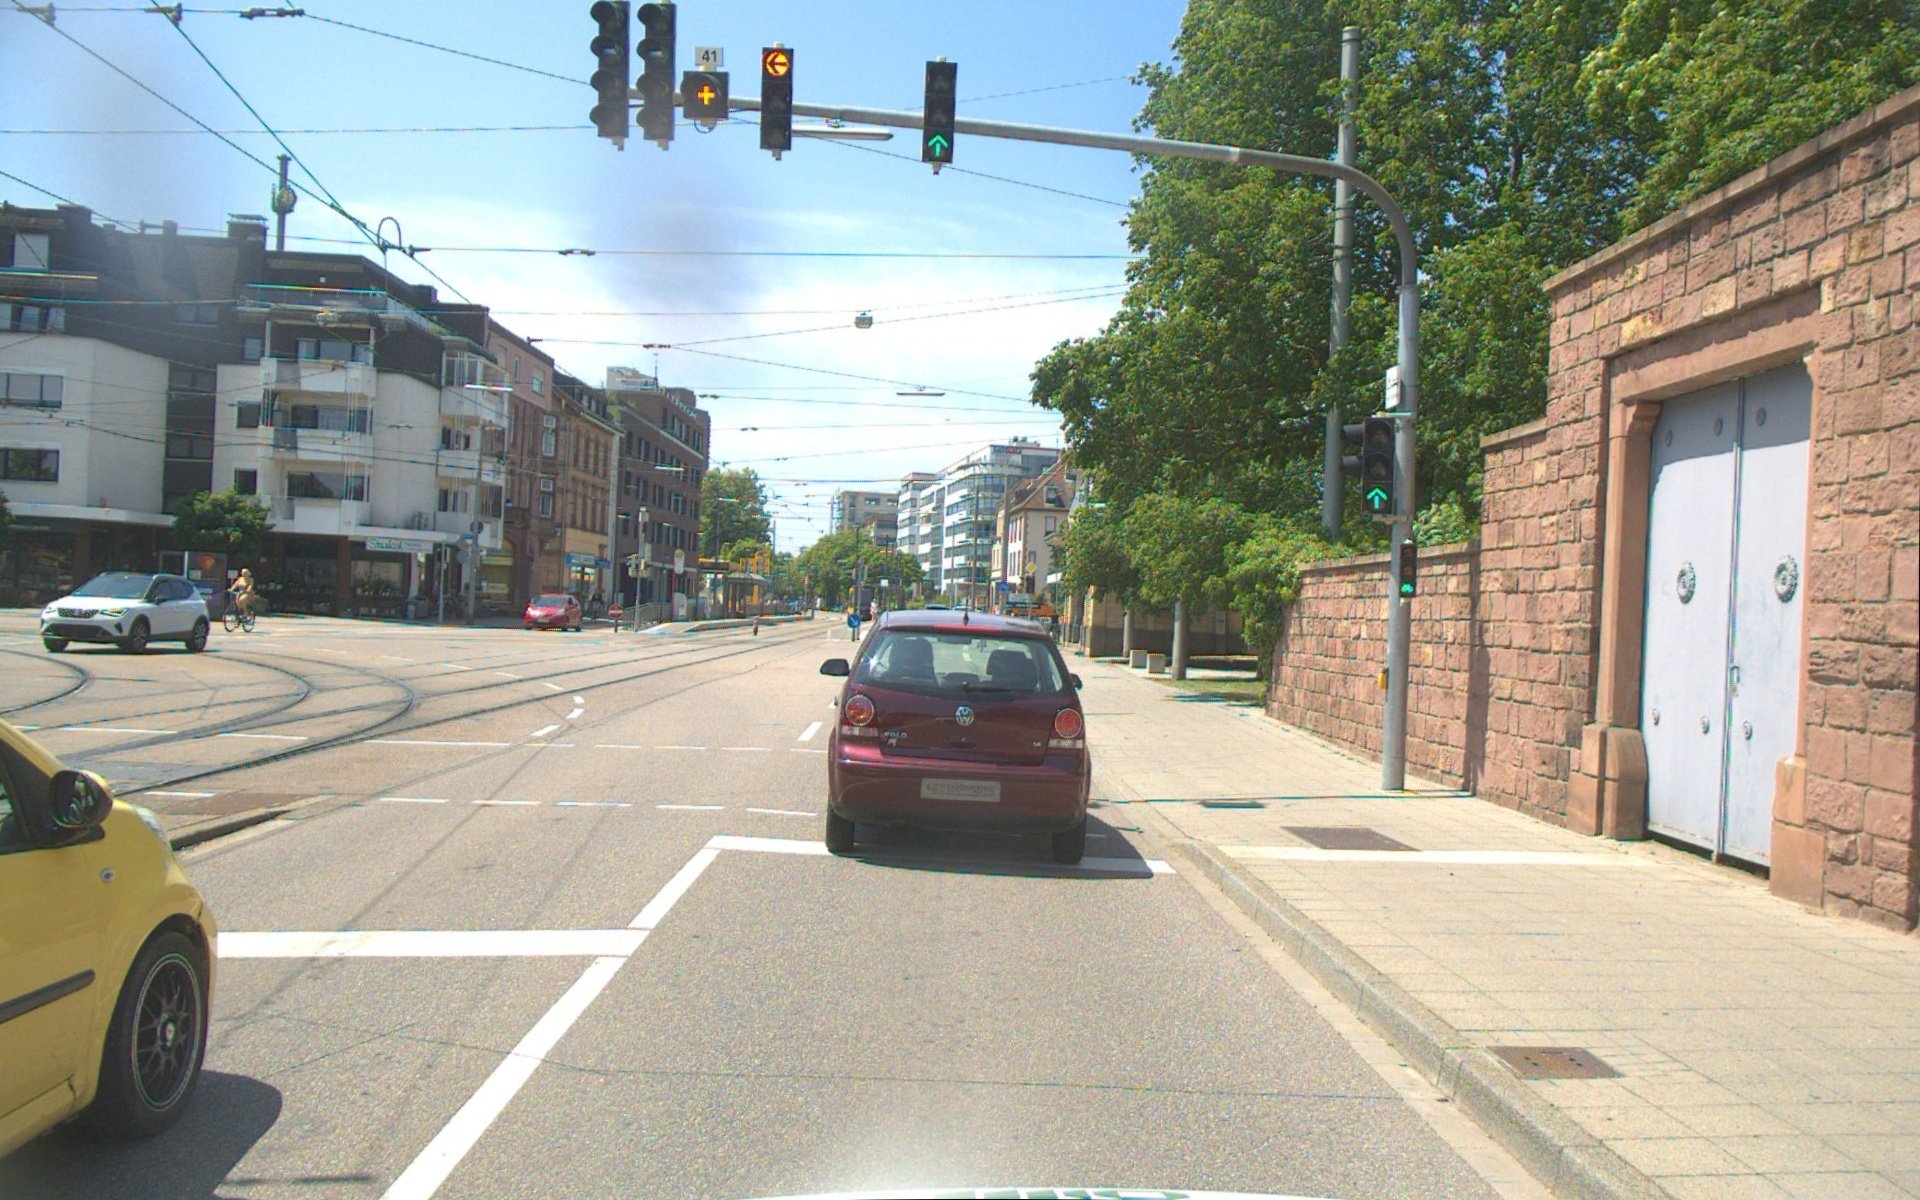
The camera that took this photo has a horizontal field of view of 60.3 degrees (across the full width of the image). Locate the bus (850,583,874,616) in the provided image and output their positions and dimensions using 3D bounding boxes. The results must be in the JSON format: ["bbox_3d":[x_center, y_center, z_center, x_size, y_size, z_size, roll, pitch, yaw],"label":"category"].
[{"bbox_3d":[-9.427,-0.031,159.402,2.102,3.055,6.570,2,0,-2],"label":"bus"}]

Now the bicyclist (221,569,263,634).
[{"bbox_3d":[-20.481,0.035,47.207,0.680,1.796,1.137,2,0,-2],"label":"bicyclist"}]

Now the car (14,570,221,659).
[{"bbox_3d":[-16.517,0.279,32.684,1.953,1.580,4.138,2,0,-1],"label":"car"}]

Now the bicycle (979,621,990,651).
[{"bbox_3d":[1.037,1.517,70.107,0.368,1.218,1.904,2,0,-2],"label":"bicycle"}]

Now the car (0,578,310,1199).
[{"bbox_3d":[-2.855,0.679,3.512,1.583,1.446,3.654,0,-1,-2],"label":"car"}]

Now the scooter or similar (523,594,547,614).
[{"bbox_3d":[-23.373,0.227,90.967,0.477,1.101,1.578,2,0,16],"label":"scooter or similar"}]

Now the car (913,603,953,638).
[{"bbox_3d":[-1.354,1.050,84.700,1.953,1.653,4.631,2,0,0],"label":"car"}]

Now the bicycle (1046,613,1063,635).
[{"bbox_3d":[4.482,1.135,78.444,0.654,1.020,1.863,-1,0,-1],"label":"bicycle"}]

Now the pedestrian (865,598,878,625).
[{"bbox_3d":[-5.587,0.715,104.530,0.747,1.704,1.100,2,-1,0],"label":"pedestrian"}]

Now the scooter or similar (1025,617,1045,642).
[{"bbox_3d":[3.788,1.495,83.476,0.335,1.198,1.456,2,-1,-24],"label":"scooter or similar"}]

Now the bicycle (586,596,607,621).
[{"bbox_3d":[-19.631,0.443,89.281,0.663,1.327,2.104,2,0,-1],"label":"bicycle"}]

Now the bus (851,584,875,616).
[{"bbox_3d":[-9.696,0.038,165.964,2.188,3.055,6.590,2,0,-2],"label":"bus"}]

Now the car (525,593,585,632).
[{"bbox_3d":[-16.790,0.512,68.687,1.591,1.509,3.827,2,0,-2],"label":"car"}]

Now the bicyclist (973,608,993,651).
[{"bbox_3d":[0.974,1.235,70.322,0.712,1.791,0.923,2,0,-2],"label":"bicyclist"}]

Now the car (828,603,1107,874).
[{"bbox_3d":[0.005,0.793,10.906,1.529,1.479,3.060,2,0,-2],"label":"car"}]

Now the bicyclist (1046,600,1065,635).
[{"bbox_3d":[4.545,0.815,78.439,0.815,1.646,0.860,-1,0,-1],"label":"bicyclist"}]

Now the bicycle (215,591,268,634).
[{"bbox_3d":[-20.504,0.353,47.244,0.680,1.169,1.931,2,1,-2],"label":"bicycle"}]

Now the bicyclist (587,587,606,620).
[{"bbox_3d":[-19.640,0.187,89.346,0.717,1.793,1.134,2,0,-2],"label":"bicyclist"}]
